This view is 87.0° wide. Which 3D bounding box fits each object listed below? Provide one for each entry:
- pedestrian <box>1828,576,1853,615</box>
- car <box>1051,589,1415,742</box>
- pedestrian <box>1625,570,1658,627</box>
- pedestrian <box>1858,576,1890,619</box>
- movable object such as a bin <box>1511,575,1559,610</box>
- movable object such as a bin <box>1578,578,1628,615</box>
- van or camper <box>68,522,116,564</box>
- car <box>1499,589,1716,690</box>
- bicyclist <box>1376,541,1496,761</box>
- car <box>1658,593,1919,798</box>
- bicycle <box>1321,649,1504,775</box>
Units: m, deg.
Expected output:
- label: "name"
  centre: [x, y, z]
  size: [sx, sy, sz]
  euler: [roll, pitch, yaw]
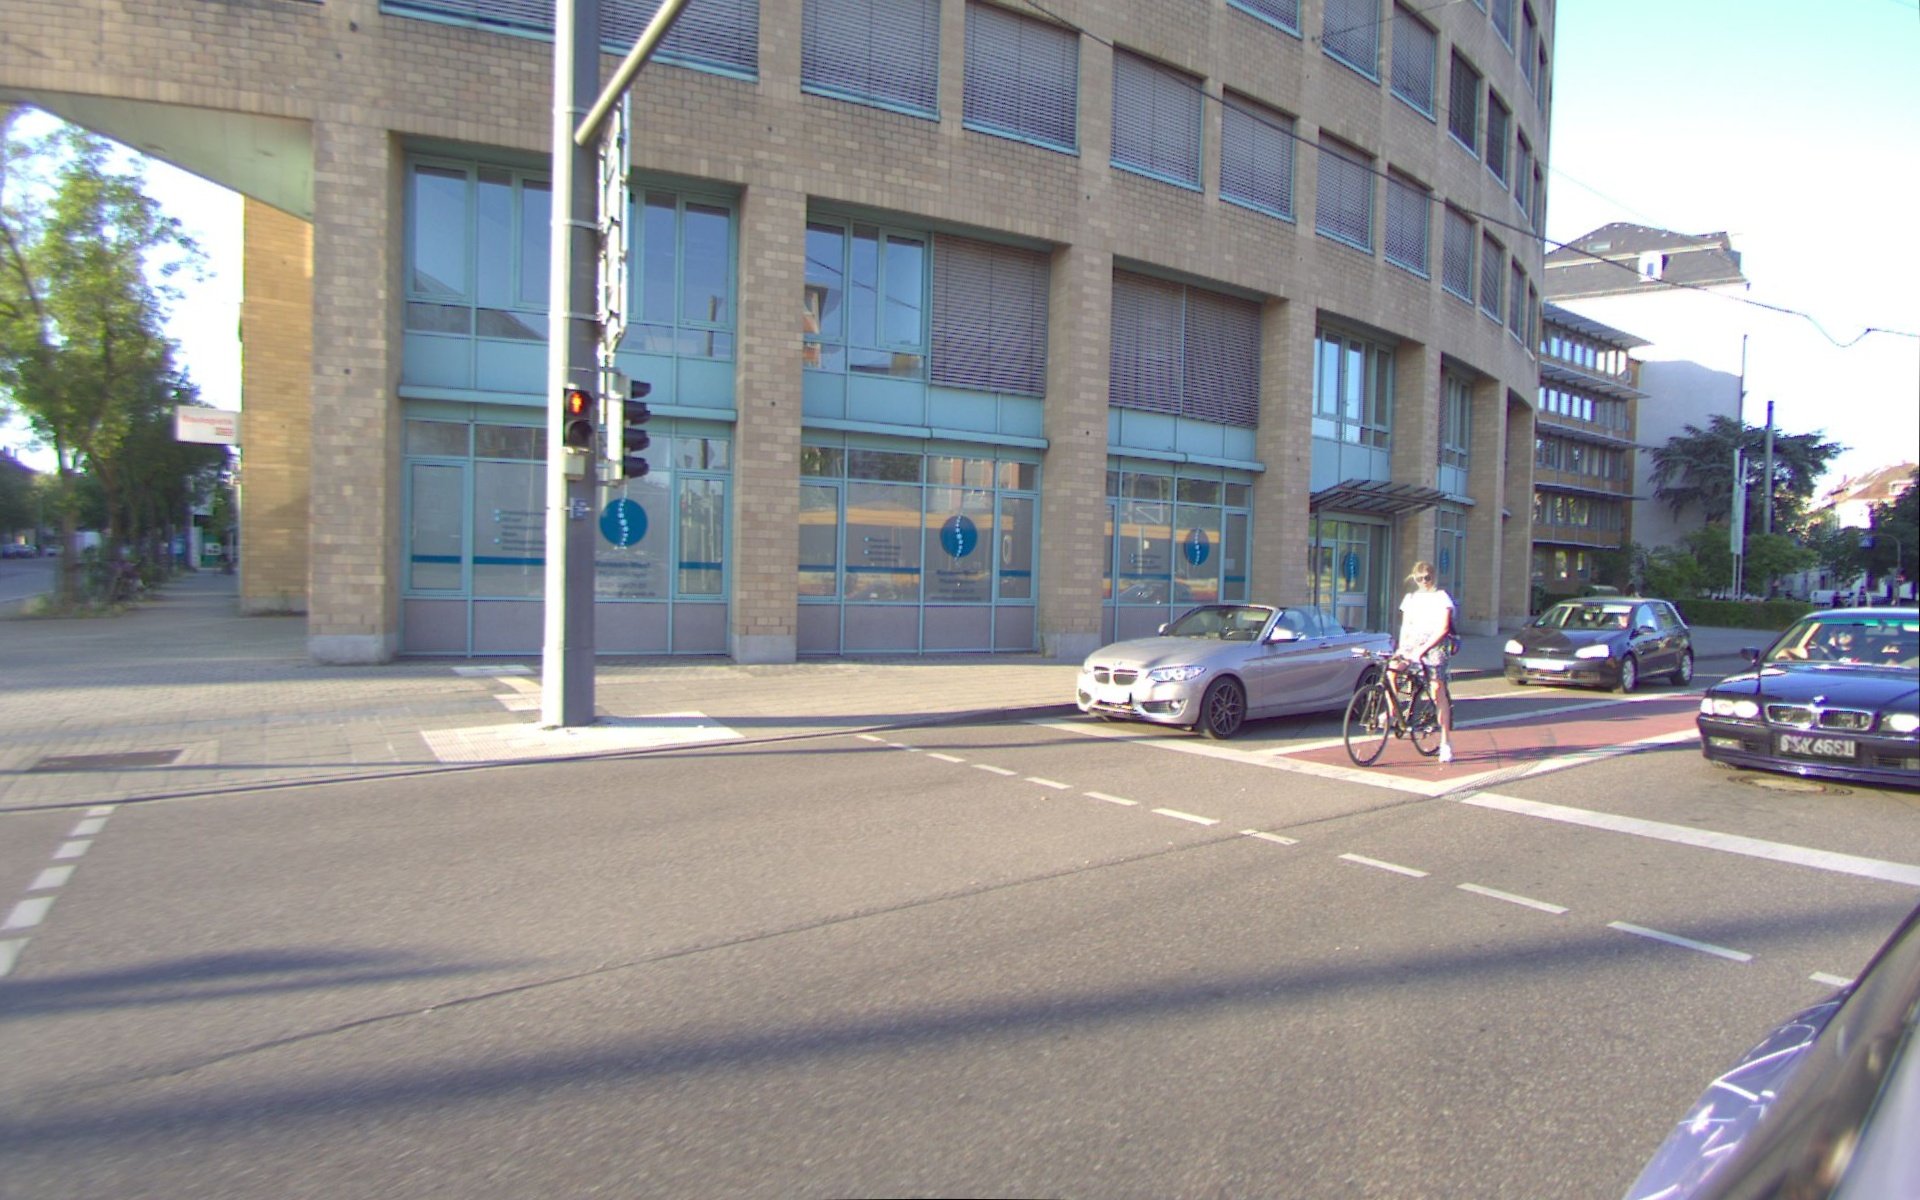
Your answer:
- label: "pedestrian"
  centre: [43.024, -0.224, 49.452]
  size: [0.710, 1.830, 0.729]
  euler: [0, 1, -36]
- label: "car"
  centre: [3.195, 0.610, 11.519]
  size: [4.147, 1.402, 1.749]
  euler: [0, 2, -35]
- label: "pedestrian"
  centre: [20.811, -0.048, 30.913]
  size: [0.701, 1.702, 0.627]
  euler: [0, 2, -40]
- label: "pedestrian"
  centre: [41.921, -0.107, 46.434]
  size: [0.906, 1.918, 1.112]
  euler: [2, 1, 36]
- label: "movable object such as a bin"
  centre: [25.569, -0.352, 44.984]
  size: [1.309, 1.477, 1.427]
  euler: [0, 2, -38]
- label: "movable object such as a bin"
  centre: [26.777, -0.173, 42.157]
  size: [1.309, 1.477, 1.426]
  euler: [0, 2, -40]
- label: "van or camper"
  centre: [-62.614, -4.096, 73.091]
  size: [2.114, 2.878, 4.406]
  euler: [0, 2, -34]
- label: "car"
  centre: [10.689, 0.564, 16.622]
  size: [3.926, 1.404, 1.759]
  euler: [0, 2, -38]
- label: "bicyclist"
  centre: [4.210, 0.416, 8.958]
  size: [0.763, 1.843, 0.635]
  euler: [0, 1, -37]
- label: "car"
  centre: [8.243, 0.663, 8.932]
  size: [4.650, 1.402, 2.000]
  euler: [0, 1, -36]
- label: "bicycle"
  centre: [3.942, 0.922, 8.758]
  size: [1.835, 0.884, 0.635]
  euler: [0, 2, -38]
